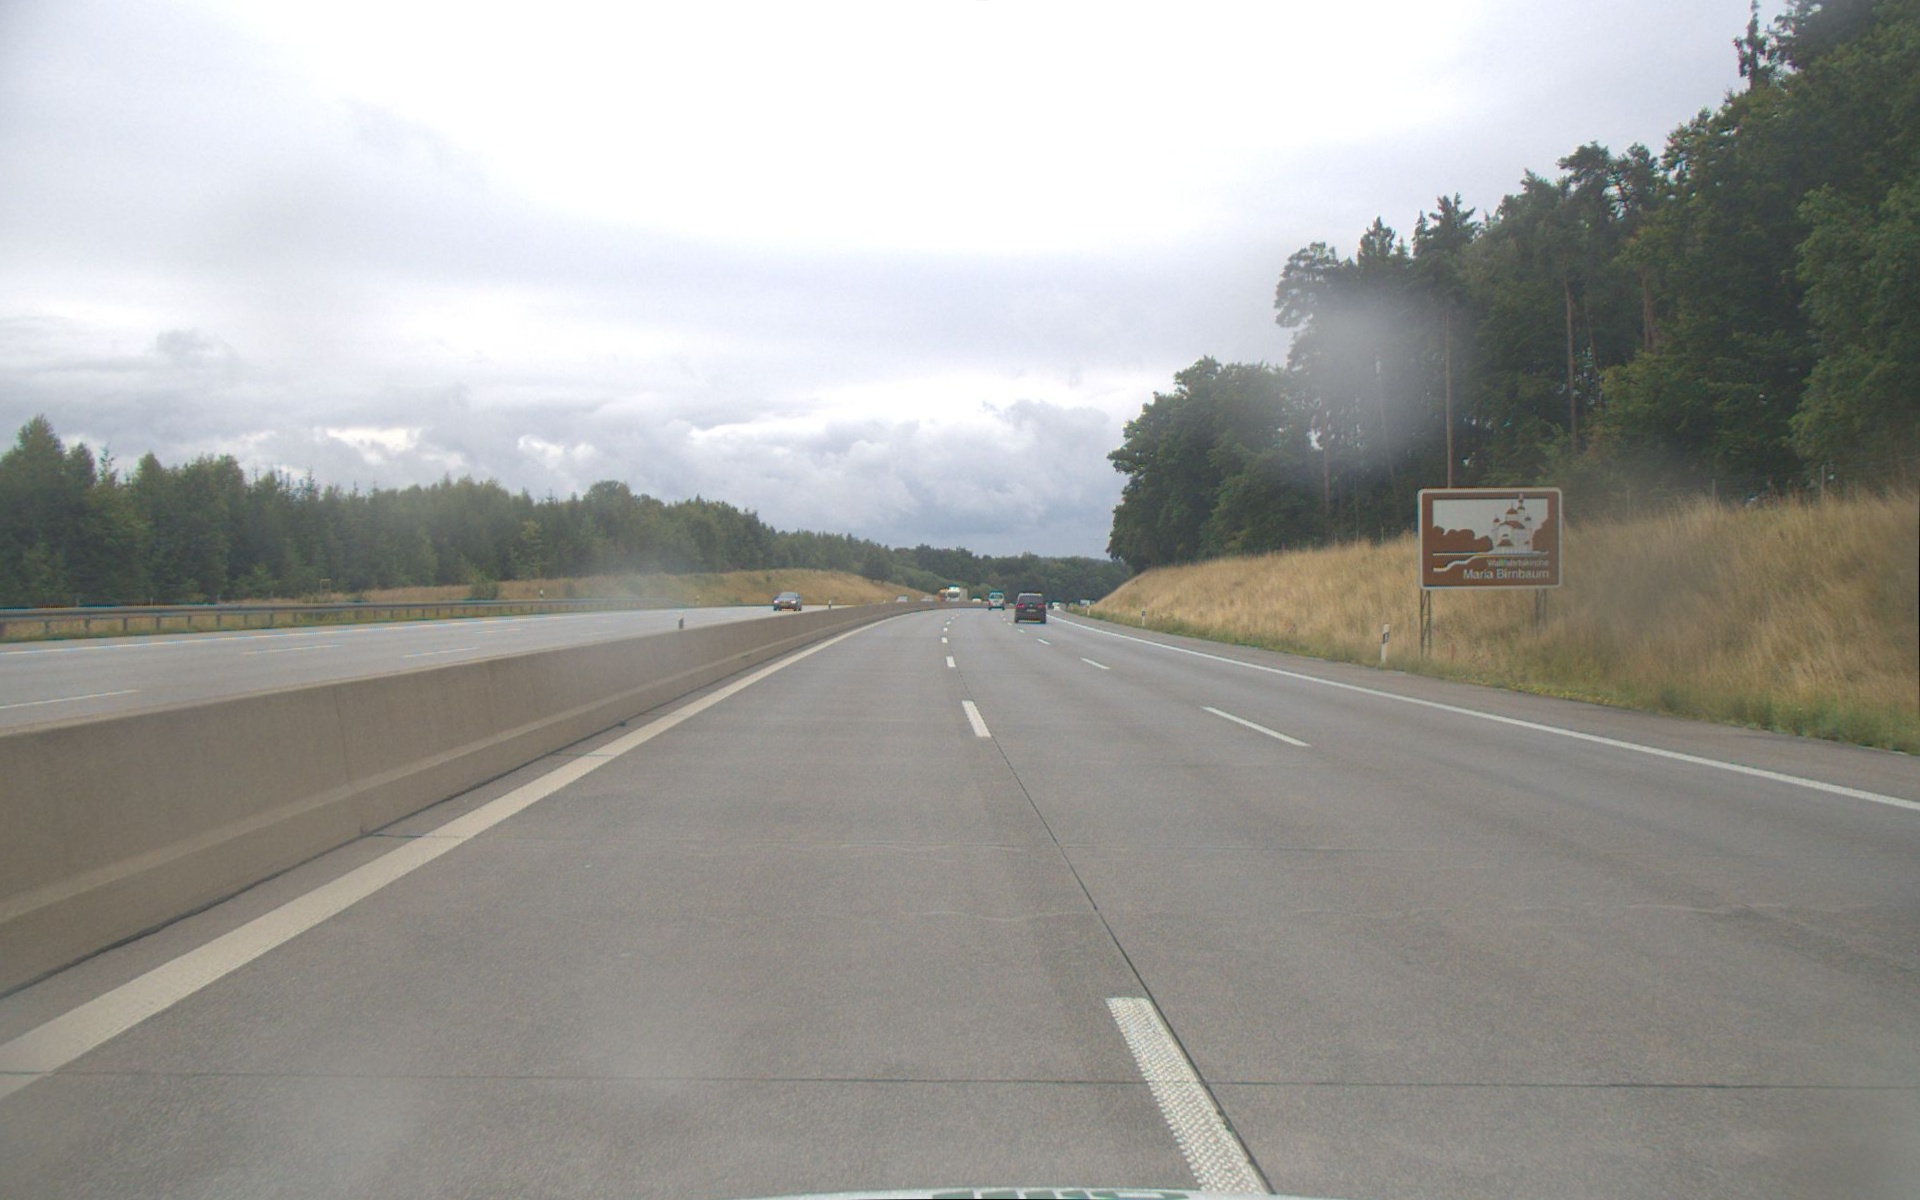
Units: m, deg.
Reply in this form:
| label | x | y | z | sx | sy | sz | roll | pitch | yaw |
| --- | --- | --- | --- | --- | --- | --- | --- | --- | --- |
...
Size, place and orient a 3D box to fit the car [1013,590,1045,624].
| label | x | y | z | sx | sy | sz | roll | pitch | yaw |
| --- | --- | --- | --- | --- | --- | --- | --- | --- | --- |
| car | 4.000 | 0.397 | 96.461 | 1.748 | 1.777 | 3.916 | -2 | 2 | 1 |

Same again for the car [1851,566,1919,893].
| label | x | y | z | sx | sy | sz | roll | pitch | yaw |
| --- | --- | --- | --- | --- | --- | --- | --- | --- | --- |
| car | 6.041 | 0.739 | 6.725 | 1.859 | 1.719 | 5.265 | 1 | 1 | -2 |

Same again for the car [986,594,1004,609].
| label | x | y | z | sx | sy | sz | roll | pitch | yaw |
| --- | --- | --- | --- | --- | --- | --- | --- | --- | --- |
| car | 4.049 | 0.204 | 192.137 | 1.804 | 1.526 | 4.000 | -2 | 2 | -1 |

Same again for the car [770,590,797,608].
| label | x | y | z | sx | sy | sz | roll | pitch | yaw |
| --- | --- | --- | --- | --- | --- | --- | --- | --- | --- |
| car | -13.782 | -0.062 | 129.169 | 1.732 | 1.253 | 3.954 | 2 | 1 | -1 |
